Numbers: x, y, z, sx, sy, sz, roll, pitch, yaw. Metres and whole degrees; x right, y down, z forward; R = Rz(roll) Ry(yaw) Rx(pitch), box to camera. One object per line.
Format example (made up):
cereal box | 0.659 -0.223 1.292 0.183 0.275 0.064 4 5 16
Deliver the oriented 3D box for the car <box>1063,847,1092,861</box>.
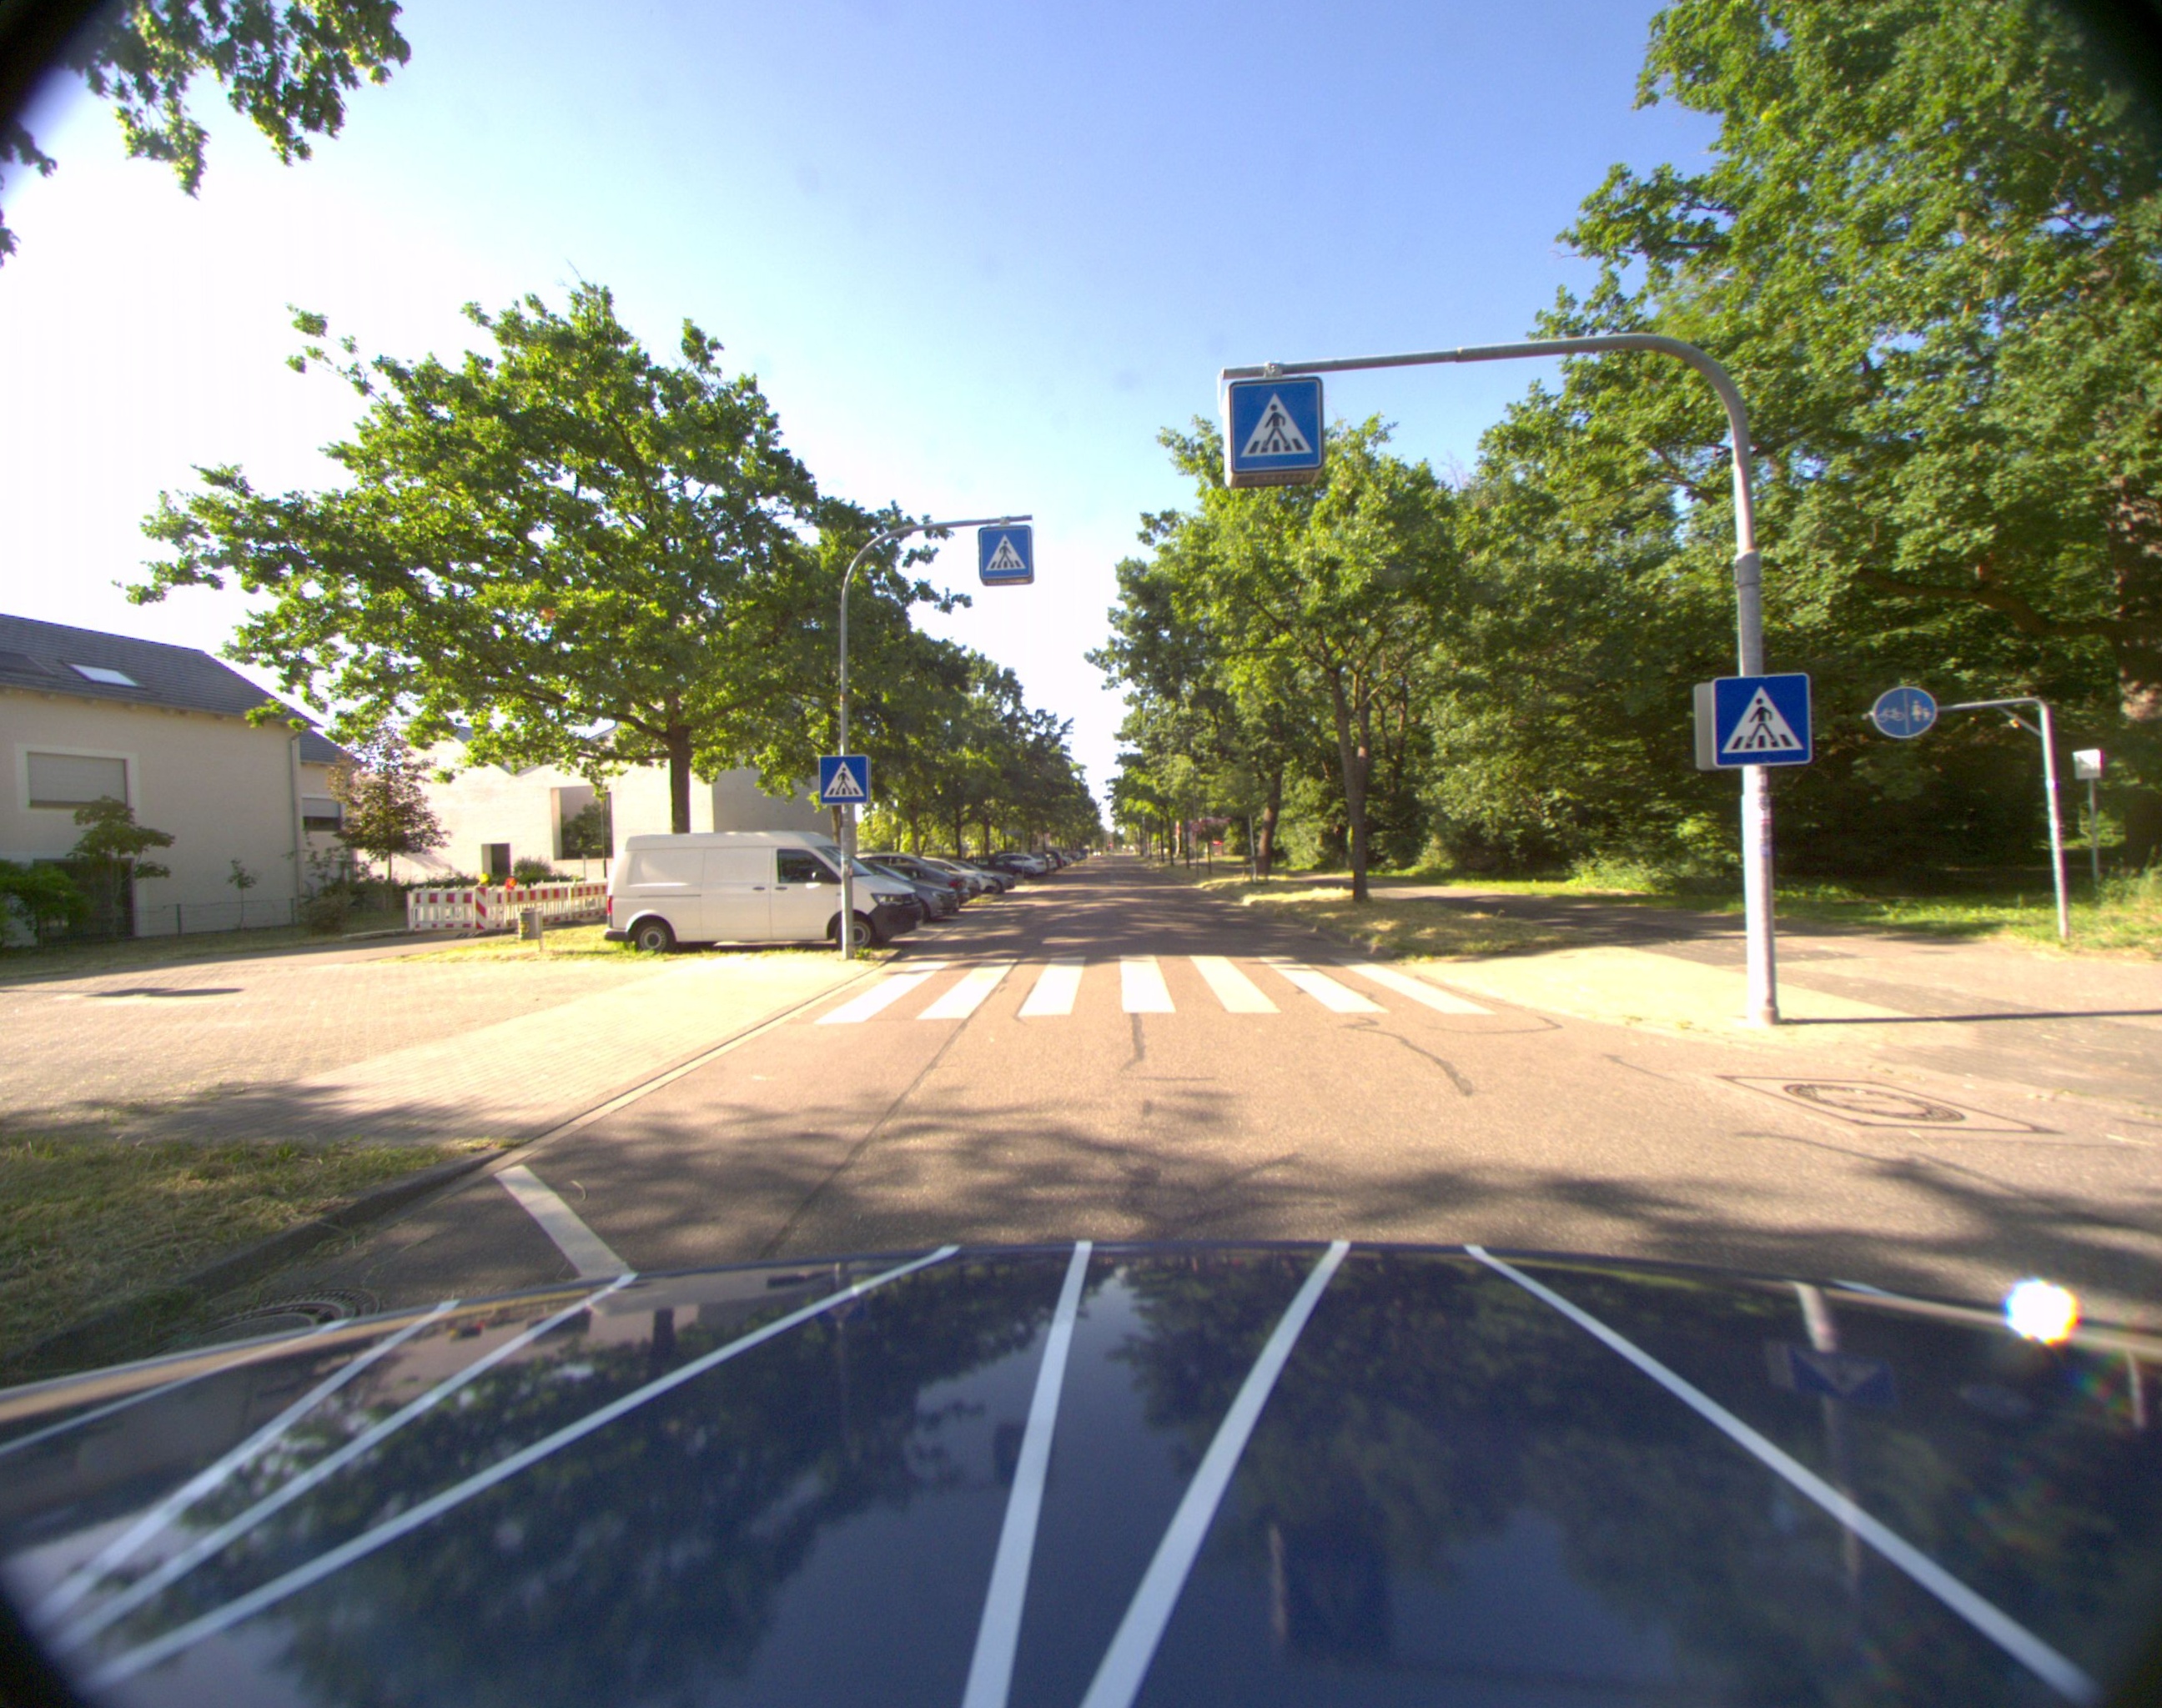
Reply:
car | -0.497 0.019 112.450 4.151 1.838 1.949 -3 1 3

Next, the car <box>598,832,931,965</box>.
car | -5.411 0.734 13.458 5.045 2.069 1.891 -1 1 2

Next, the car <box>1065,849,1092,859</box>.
car | -0.419 -0.066 122.537 4.151 1.401 1.800 -3 1 3

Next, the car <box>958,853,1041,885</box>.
car | -4.615 0.839 43.353 4.394 1.632 1.533 -3 1 4

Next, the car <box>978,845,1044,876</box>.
car | -4.916 0.447 53.818 4.394 1.977 1.533 -3 1 4

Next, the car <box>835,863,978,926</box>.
car | -4.786 1.100 21.093 3.515 1.533 1.448 -3 1 4

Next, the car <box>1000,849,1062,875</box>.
car | -3.773 0.594 57.643 4.394 1.733 1.533 -3 1 4

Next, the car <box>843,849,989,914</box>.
car | -5.062 0.822 23.652 4.018 1.783 1.713 -3 1 4

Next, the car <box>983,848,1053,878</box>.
car | -4.180 0.578 50.629 4.394 1.733 1.533 -3 1 4

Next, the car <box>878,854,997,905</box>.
car | -5.278 0.936 28.262 4.018 1.669 1.533 -3 1 4

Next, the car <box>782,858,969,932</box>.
car | -4.960 0.972 18.650 3.996 1.554 1.758 -3 1 4

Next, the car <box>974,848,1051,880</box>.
car | -4.144 0.617 46.367 4.394 1.733 1.533 -3 1 4

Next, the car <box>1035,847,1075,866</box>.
car | -2.718 0.268 80.267 3.996 1.838 1.863 -3 1 3

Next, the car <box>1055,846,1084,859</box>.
car | -1.759 -0.295 117.550 4.151 1.838 1.949 -3 1 3

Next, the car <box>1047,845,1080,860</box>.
car | -2.358 -0.170 101.220 4.151 1.838 1.949 -3 1 3

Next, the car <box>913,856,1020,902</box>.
car | -4.654 1.024 31.237 4.018 1.650 1.533 -3 1 4

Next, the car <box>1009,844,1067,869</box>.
car | -3.438 0.178 60.665 4.394 1.733 1.533 -3 1 4
